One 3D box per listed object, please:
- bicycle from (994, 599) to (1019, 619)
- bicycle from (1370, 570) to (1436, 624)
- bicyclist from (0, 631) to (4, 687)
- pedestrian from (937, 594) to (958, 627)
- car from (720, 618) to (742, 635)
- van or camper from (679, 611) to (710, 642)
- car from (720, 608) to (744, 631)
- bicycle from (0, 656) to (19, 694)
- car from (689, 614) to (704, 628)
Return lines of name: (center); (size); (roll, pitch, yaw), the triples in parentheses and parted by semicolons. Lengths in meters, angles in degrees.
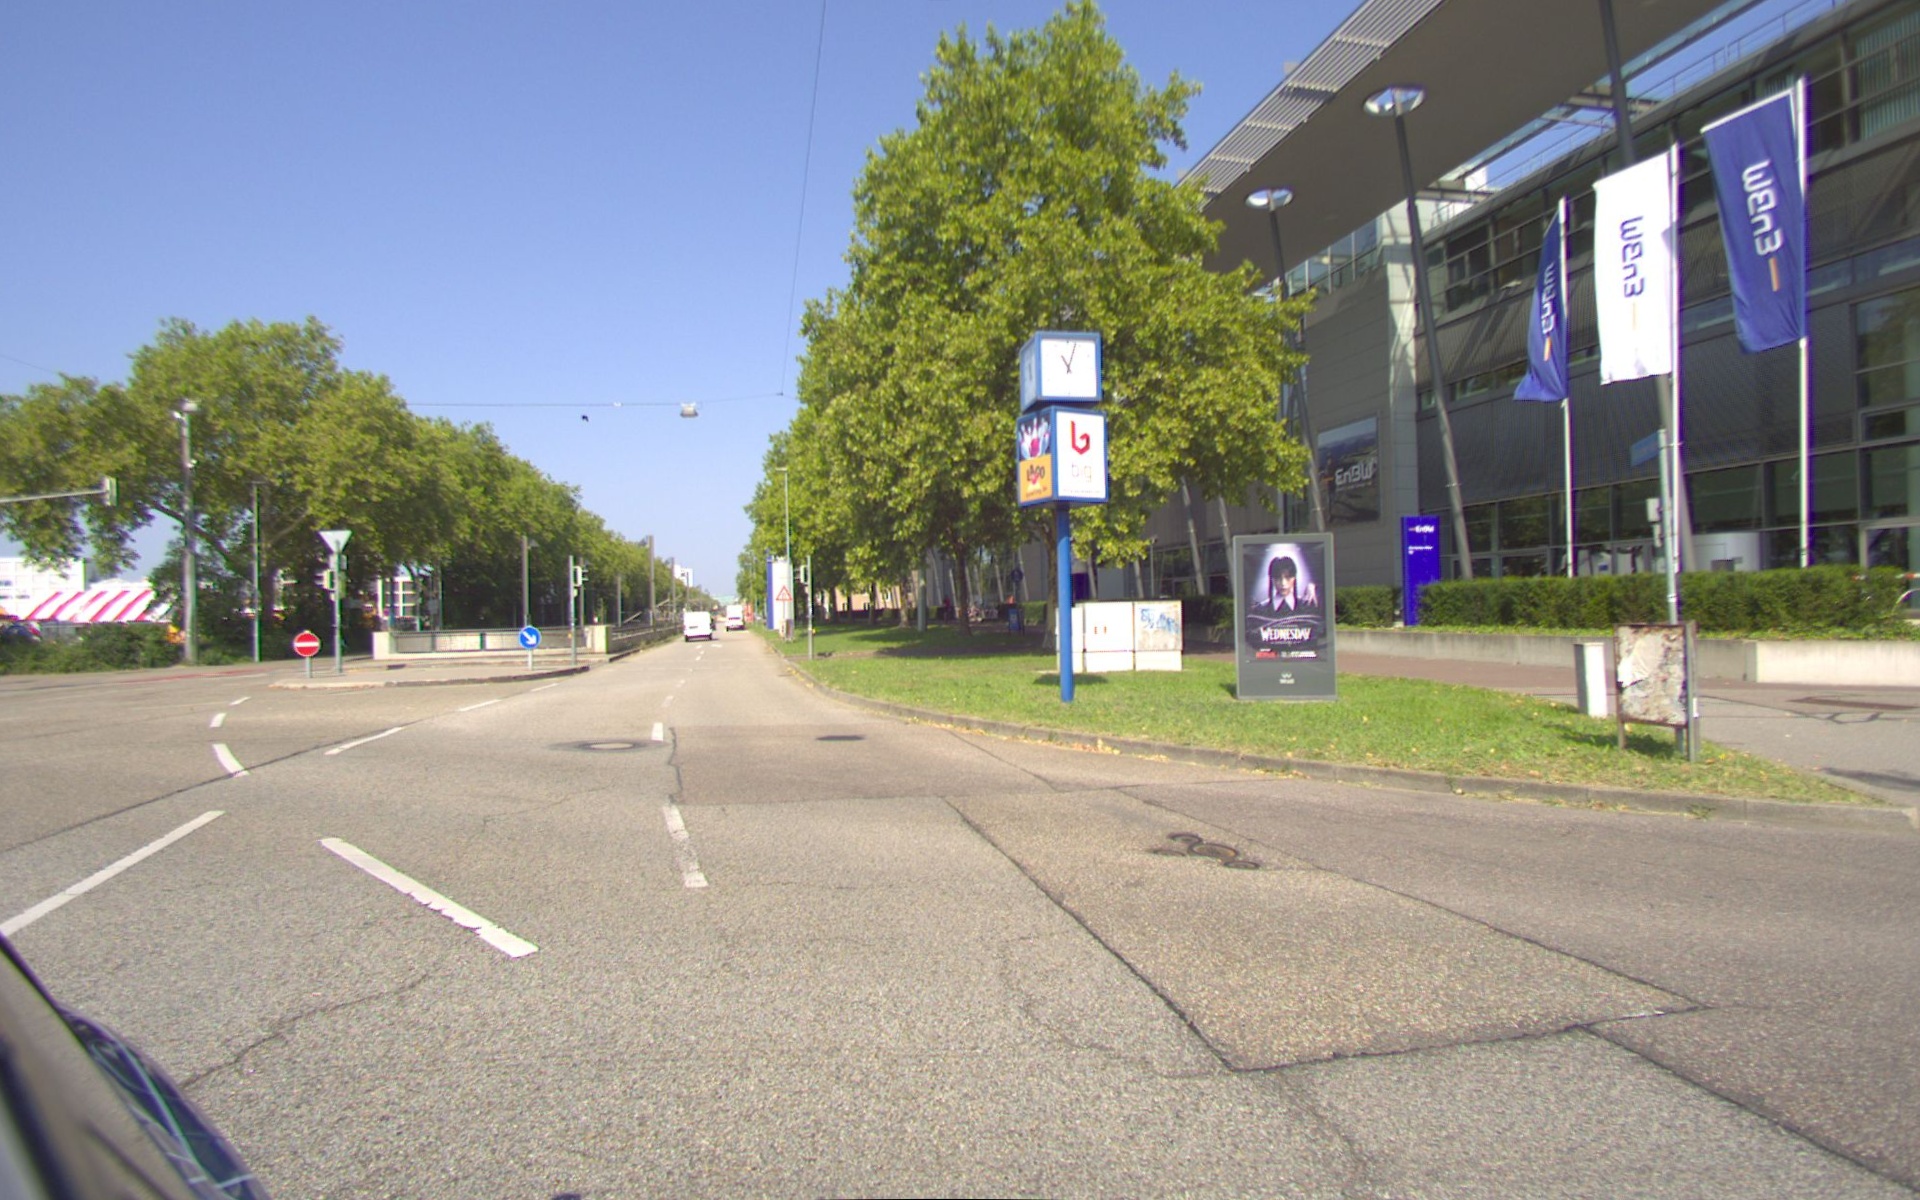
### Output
bicycle: (4.163, 0.805, 90.756); (2.133, 1.566, 0.602); (-4, 0, -20)
bicycle: (18.064, -0.110, 41.307); (2.379, 2.028, 0.691); (-4, 0, -12)
bicyclist: (-29.433, 1.645, 30.197); (1.190, 2.028, 0.597); (-5, 0, 7)
pedestrian: (-0.811, 0.705, 64.824); (0.933, 2.028, 1.352); (-4, 0, -11)
car: (-23.089, 2.648, 101.975); (1.967, 1.464, 4.011); (-4, 0, -14)
van or camper: (-17.631, 1.732, 67.075); (1.815, 1.962, 4.962); (-2, -1, -17)
car: (-24.138, 2.064, 106.980); (2.255, 2.249, 4.668); (-4, 0, -14)
bicycle: (-29.496, 2.301, 30.205); (2.234, 1.095, 0.771); (-3, 0, 6)
car: (-41.180, 3.250, 158.153); (1.966, 2.028, 4.012); (-4, 0, -18)
